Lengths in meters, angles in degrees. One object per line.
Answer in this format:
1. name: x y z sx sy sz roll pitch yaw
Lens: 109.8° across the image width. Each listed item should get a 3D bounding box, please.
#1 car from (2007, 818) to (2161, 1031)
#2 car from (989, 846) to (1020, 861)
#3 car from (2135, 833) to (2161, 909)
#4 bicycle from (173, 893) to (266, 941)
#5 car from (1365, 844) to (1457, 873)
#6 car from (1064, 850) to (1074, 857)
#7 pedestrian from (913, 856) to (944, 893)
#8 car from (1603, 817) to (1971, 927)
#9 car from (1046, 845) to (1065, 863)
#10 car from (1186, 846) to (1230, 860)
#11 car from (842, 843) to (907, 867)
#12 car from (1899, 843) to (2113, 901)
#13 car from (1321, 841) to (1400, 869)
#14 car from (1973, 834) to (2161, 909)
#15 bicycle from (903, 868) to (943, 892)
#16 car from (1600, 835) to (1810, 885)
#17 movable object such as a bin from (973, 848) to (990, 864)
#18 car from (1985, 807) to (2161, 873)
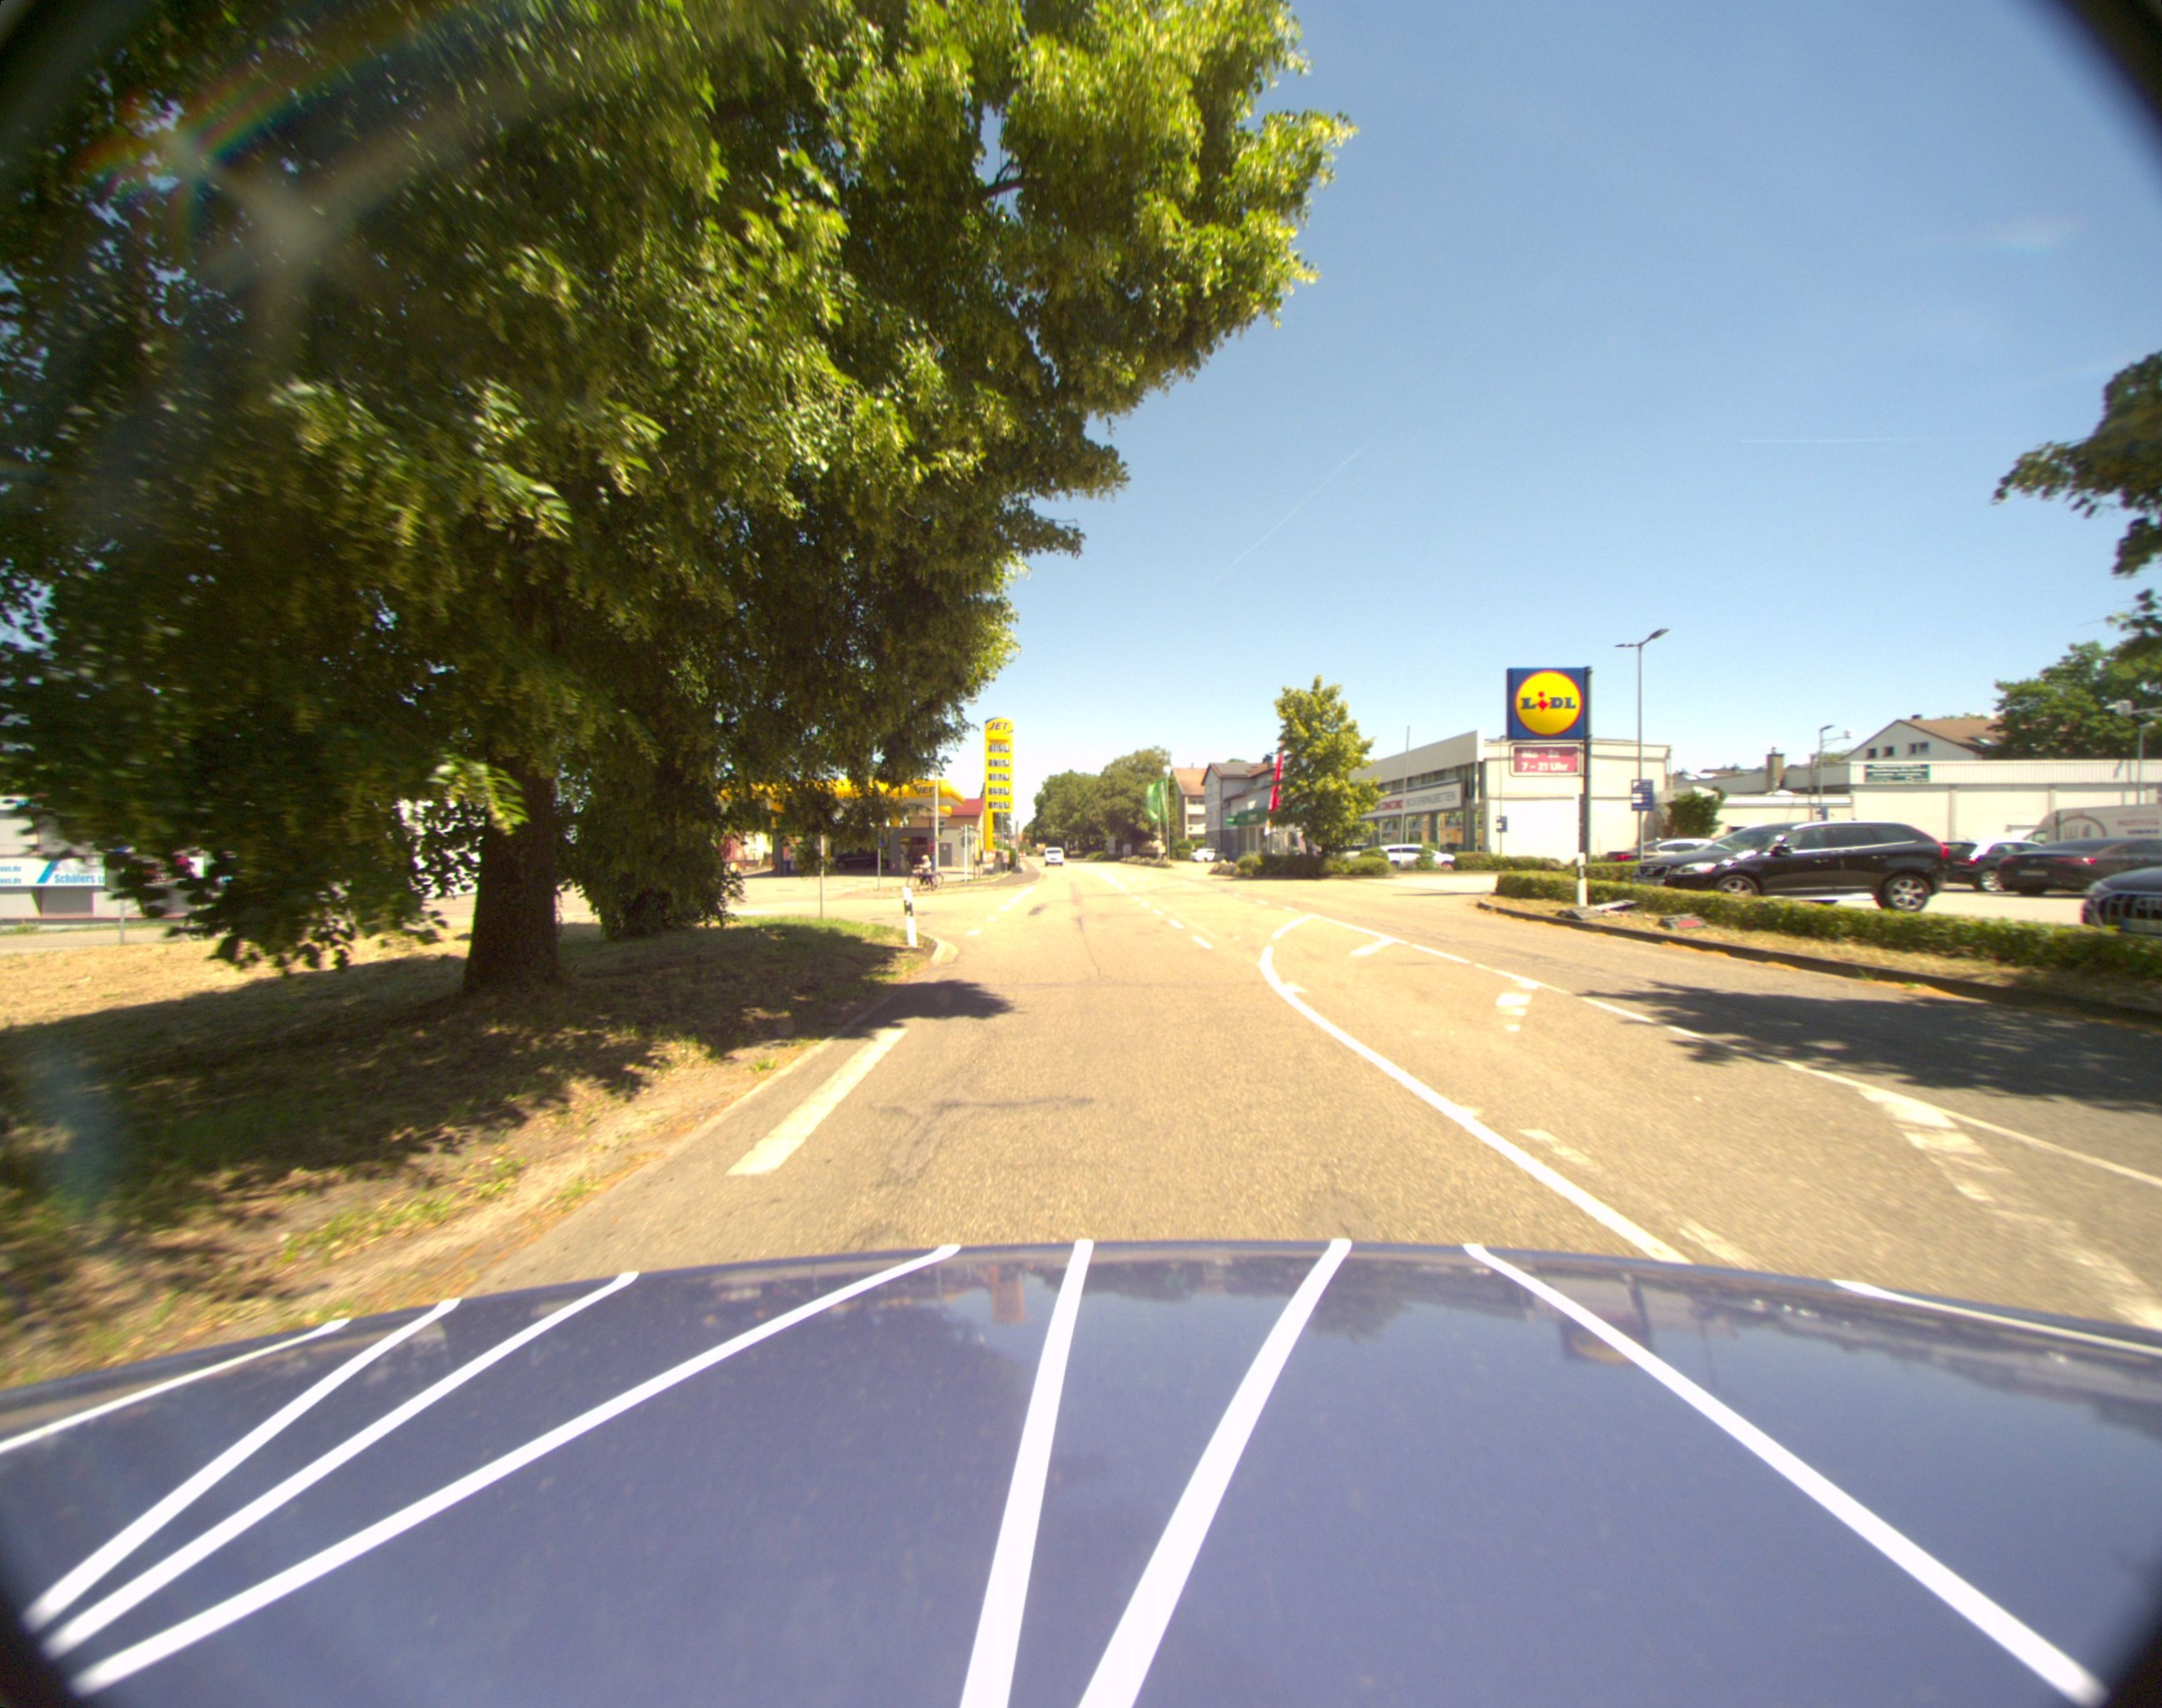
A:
1. car: 11.609 0.560 6.555 4.394 1.835 2.104 -2 1 6
2. car: -10.748 -0.054 106.076 4.148 1.927 1.806 -1 0 -10
3. car: 25.166 0.325 15.861 4.326 1.597 1.910 -2 1 -8
4. bicycle: -20.905 1.528 18.450 1.697 1.091 0.468 -1 2 2
5. car: 17.554 0.226 40.635 4.190 1.438 1.981 -1 0 12
6. car: -2.549 -0.141 155.660 1.767 1.518 4.135 0 0 -5
7. pedestrian: -6.090 0.809 30.351 0.869 1.413 0.769 -2 1 -44
8. car: 12.797 0.300 14.088 4.718 1.752 2.098 -2 1 4
9. car: -2.810 -0.042 82.988 1.797 1.904 3.638 -1 1 -6
10. car: 13.788 -0.082 82.341 4.360 1.431 1.935 -1 1 -27
11. car: -17.586 0.056 64.896 5.064 1.964 1.999 -1 1 -3
12. car: 25.119 0.443 20.704 4.249 1.361 1.768 -2 1 -8
13. car: 17.752 0.085 48.431 4.537 1.654 2.002 -1 0 15
14. car: 24.244 0.365 18.183 4.249 1.580 1.768 -2 1 -8
15. bicycle: -6.398 1.055 30.791 1.601 0.907 0.378 -2 1 -44
16. car: 19.176 0.192 23.619 4.679 1.392 1.941 -1 1 18
17. movable object such as a bin: -9.072 0.211 69.313 1.438 1.429 1.467 1 1 -4
18. car: 44.134 -0.656 33.156 2.287 2.612 5.898 -2 1 -1
